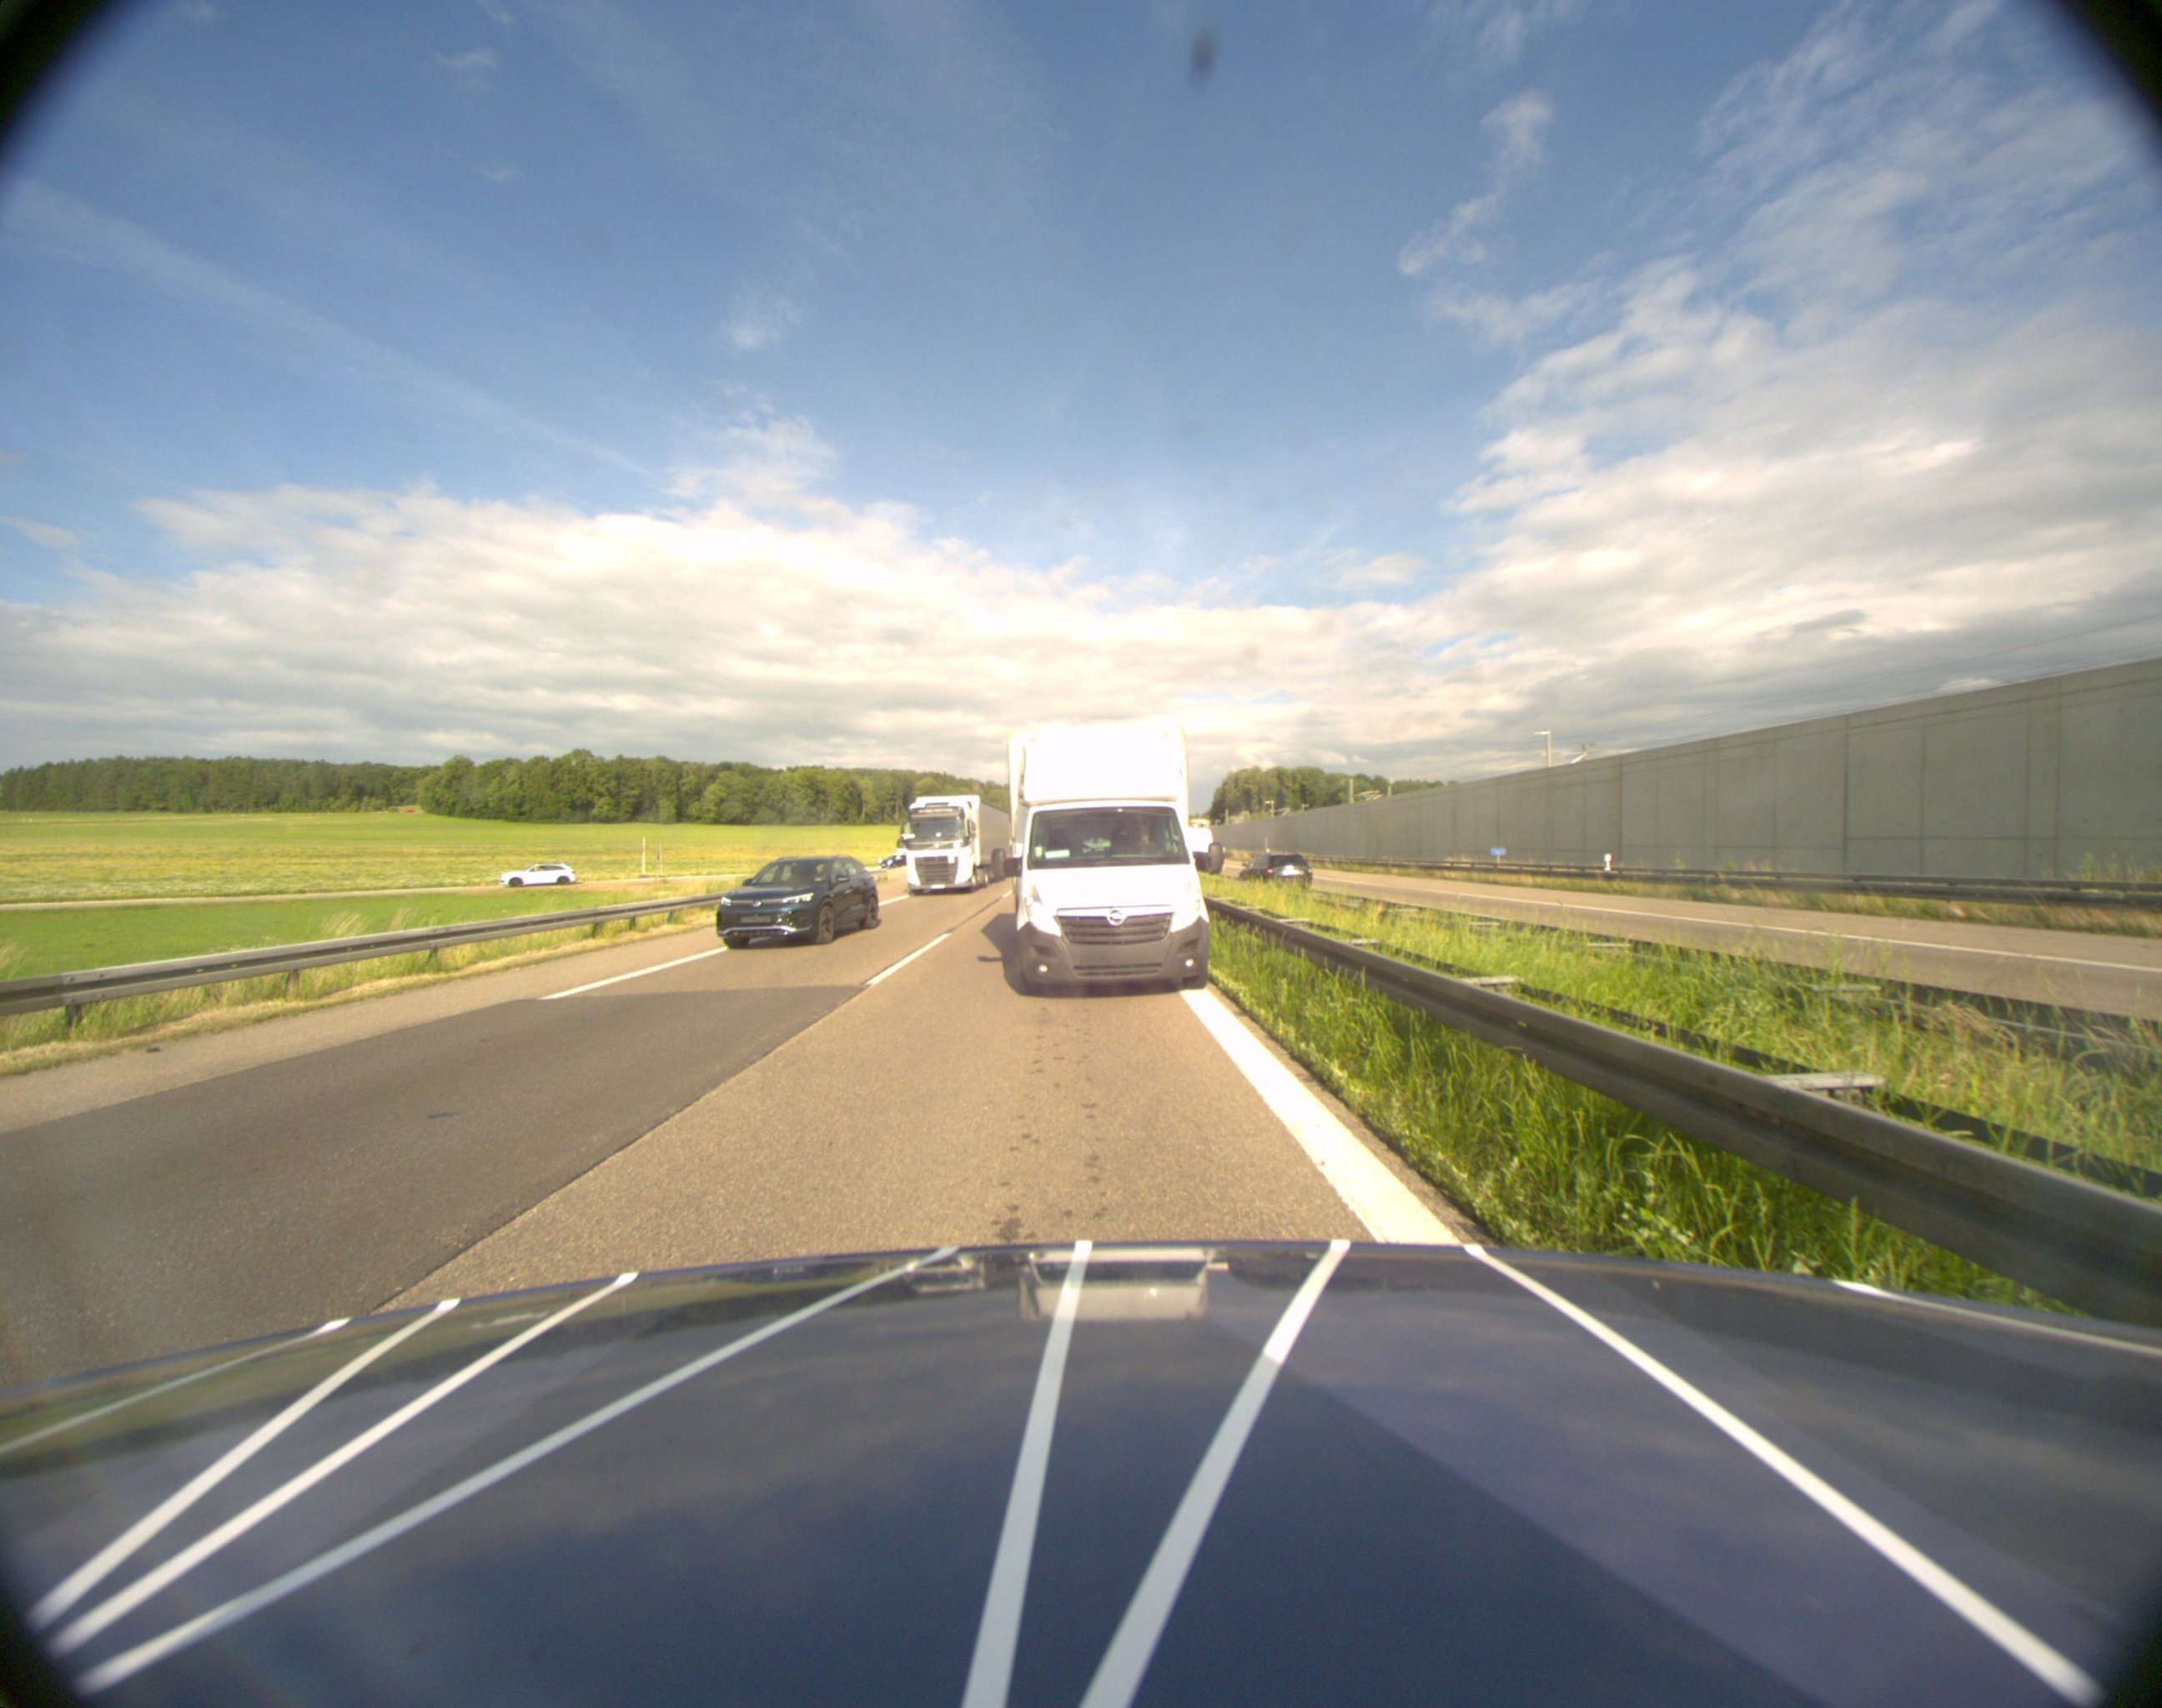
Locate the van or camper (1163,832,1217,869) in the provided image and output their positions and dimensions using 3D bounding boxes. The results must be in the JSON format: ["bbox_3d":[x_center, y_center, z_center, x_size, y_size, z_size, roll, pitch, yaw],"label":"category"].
[{"bbox_3d":[6.952,-0.246,49.269,2.172,2.193,6.255,-2,1,-4],"label":"van or camper"}]

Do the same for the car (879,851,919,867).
[{"bbox_3d":[-18.878,0.487,78.881,3.567,1.521,1.720,-3,1,-38],"label":"car"}]

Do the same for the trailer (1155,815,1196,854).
[{"bbox_3d":[10.524,-2.128,86.173,2.661,4.057,12.393,-2,1,-1],"label":"trailer"}]

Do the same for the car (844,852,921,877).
[{"bbox_3d":[-14.735,0.749,56.514,5.088,1.537,1.995,-3,1,-31],"label":"car"}]

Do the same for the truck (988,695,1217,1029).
[{"bbox_3d":[0.293,0.026,11.091,2.059,3.088,7.803,-2,1,1],"label":"truck"}]

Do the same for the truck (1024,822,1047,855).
[{"bbox_3d":[-5.191,-1.770,87.358,1.998,3.663,5.931,-2,1,0],"label":"truck"}]

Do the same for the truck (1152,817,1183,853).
[{"bbox_3d":[10.415,-2.237,92.158,2.644,4.074,7.000,-2,1,-1],"label":"truck"}]

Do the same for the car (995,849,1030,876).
[{"bbox_3d":[-4.648,0.564,52.053,1.998,1.647,3.999,-2,1,0],"label":"car"}]

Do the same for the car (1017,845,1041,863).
[{"bbox_3d":[-5.209,-0.005,76.271,1.998,1.647,3.999,-2,1,0],"label":"car"}]

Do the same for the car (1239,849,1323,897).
[{"bbox_3d":[7.013,0.607,27.143,1.848,1.499,4.550,-2,1,1],"label":"car"}]

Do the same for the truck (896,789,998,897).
[{"bbox_3d":[-5.382,-0.451,31.749,2.842,3.967,6.500,-2,1,1],"label":"truck"}]

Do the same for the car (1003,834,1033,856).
[{"bbox_3d":[-5.129,-0.719,62.503,1.998,1.647,3.999,-2,1,0],"label":"car"}]

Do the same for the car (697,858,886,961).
[{"bbox_3d":[-5.439,0.958,14.929,1.998,1.587,4.118,-2,1,1],"label":"car"}]

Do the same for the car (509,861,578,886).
[{"bbox_3d":[-39.448,1.420,55.830,4.006,1.609,1.995,-3,1,-35],"label":"car"}]

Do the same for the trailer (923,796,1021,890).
[{"bbox_3d":[-5.191,-0.561,38.878,2.826,3.959,12.127,-2,1,1],"label":"trailer"}]
